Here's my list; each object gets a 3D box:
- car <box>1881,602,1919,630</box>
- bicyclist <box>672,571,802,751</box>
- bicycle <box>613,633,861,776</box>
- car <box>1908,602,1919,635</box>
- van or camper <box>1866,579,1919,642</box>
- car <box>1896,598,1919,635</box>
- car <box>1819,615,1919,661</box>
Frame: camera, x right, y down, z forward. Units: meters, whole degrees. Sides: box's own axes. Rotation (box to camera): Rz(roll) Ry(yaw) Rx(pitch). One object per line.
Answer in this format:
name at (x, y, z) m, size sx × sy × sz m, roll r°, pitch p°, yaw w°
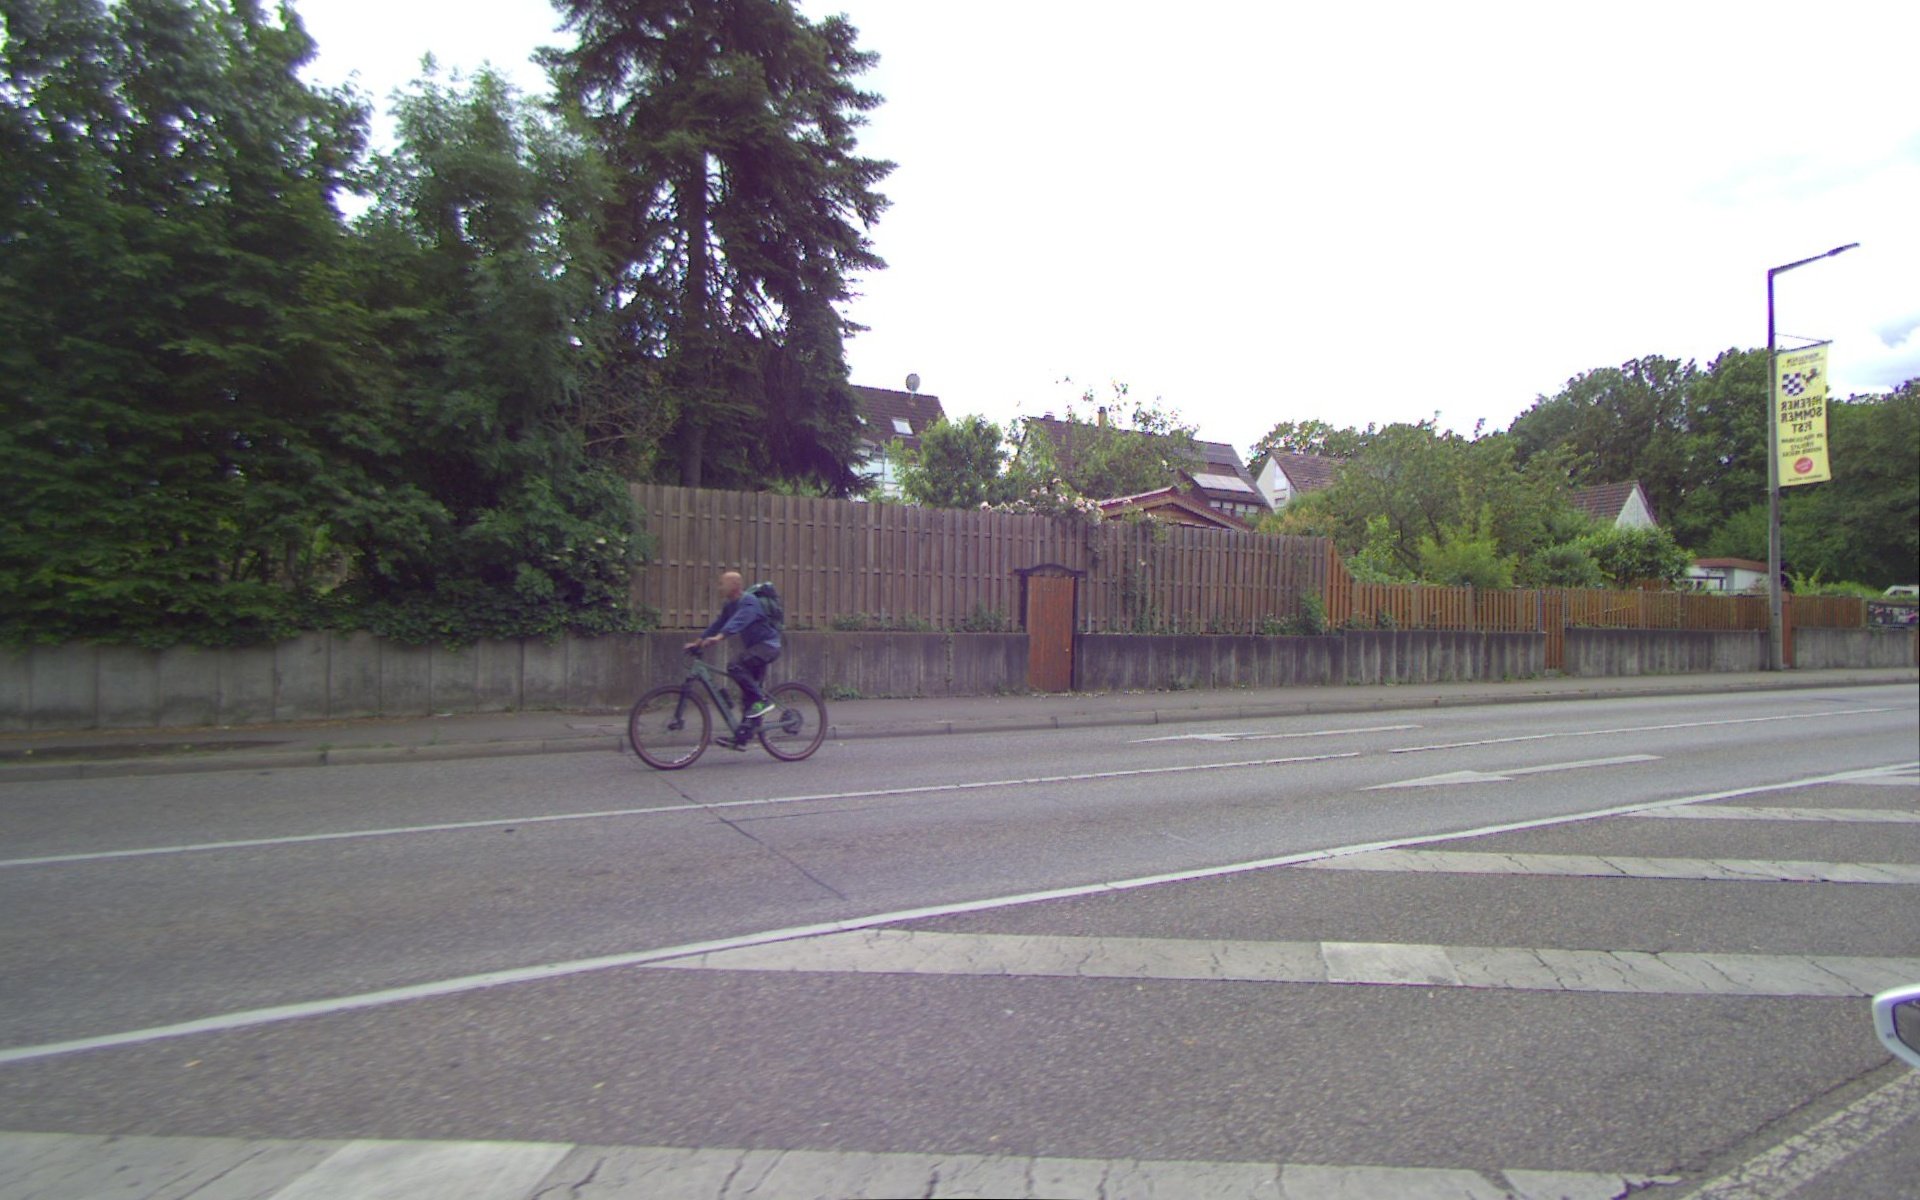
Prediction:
car at (49.599, 0.866, 50.825) m, size 1.973 × 1.388 × 3.975 m, roll 2°, pitch 0°, yaw -25°
bicyclist at (-2.044, 0.530, 9.211) m, size 0.968 × 1.555 × 0.638 m, roll 1°, pitch 1°, yaw -34°
bicycle at (-2.010, 0.904, 9.236) m, size 2.126 × 1.160 × 0.638 m, roll 1°, pitch 1°, yaw -35°
car at (43.448, 0.869, 42.925) m, size 1.513 × 1.430 × 3.975 m, roll 2°, pitch 0°, yaw -24°
van or camper at (56.362, 0.803, 56.607) m, size 2.762 × 3.417 × 7.108 m, roll 1°, pitch 4°, yaw -29°
car at (41.962, 0.760, 41.795) m, size 1.834 × 1.517 × 3.975 m, roll 2°, pitch 0°, yaw -24°
car at (36.714, 1.501, 39.525) m, size 1.975 × 1.639 × 3.970 m, roll 2°, pitch 0°, yaw -28°
